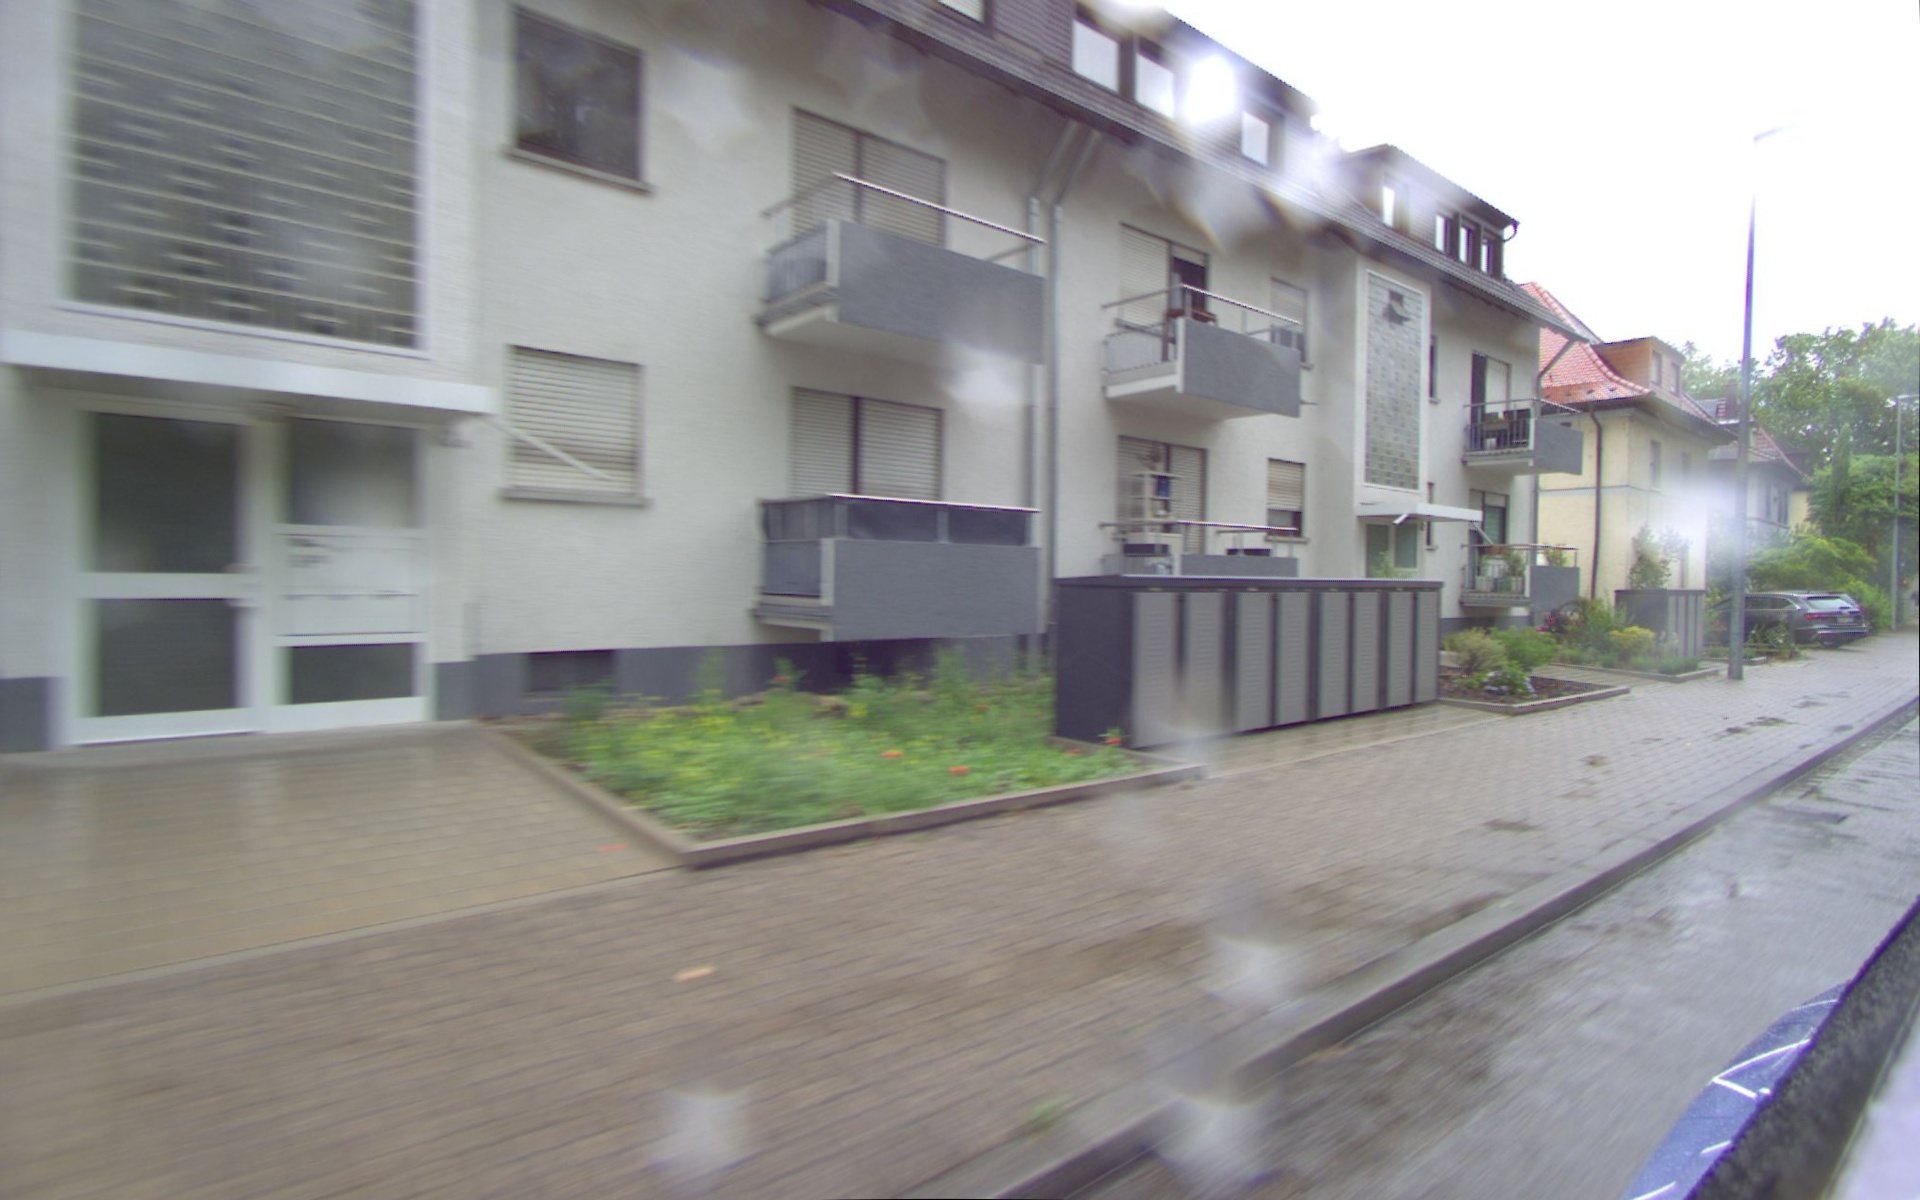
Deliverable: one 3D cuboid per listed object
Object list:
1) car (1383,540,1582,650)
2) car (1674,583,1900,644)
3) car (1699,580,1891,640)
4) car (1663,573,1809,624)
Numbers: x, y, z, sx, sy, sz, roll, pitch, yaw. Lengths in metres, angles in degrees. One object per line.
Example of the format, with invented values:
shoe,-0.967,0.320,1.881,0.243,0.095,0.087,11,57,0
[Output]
car,14.485,-0.148,28.228,1.971,2.795,4.466,4,-2,-42
car,21.268,0.287,26.306,1.880,1.381,4.390,0,2,-8
car,23.388,0.228,28.568,1.736,1.475,4.007,2,1,-8
car,29.302,-0.018,38.311,1.788,1.600,3.993,0,-4,-39
